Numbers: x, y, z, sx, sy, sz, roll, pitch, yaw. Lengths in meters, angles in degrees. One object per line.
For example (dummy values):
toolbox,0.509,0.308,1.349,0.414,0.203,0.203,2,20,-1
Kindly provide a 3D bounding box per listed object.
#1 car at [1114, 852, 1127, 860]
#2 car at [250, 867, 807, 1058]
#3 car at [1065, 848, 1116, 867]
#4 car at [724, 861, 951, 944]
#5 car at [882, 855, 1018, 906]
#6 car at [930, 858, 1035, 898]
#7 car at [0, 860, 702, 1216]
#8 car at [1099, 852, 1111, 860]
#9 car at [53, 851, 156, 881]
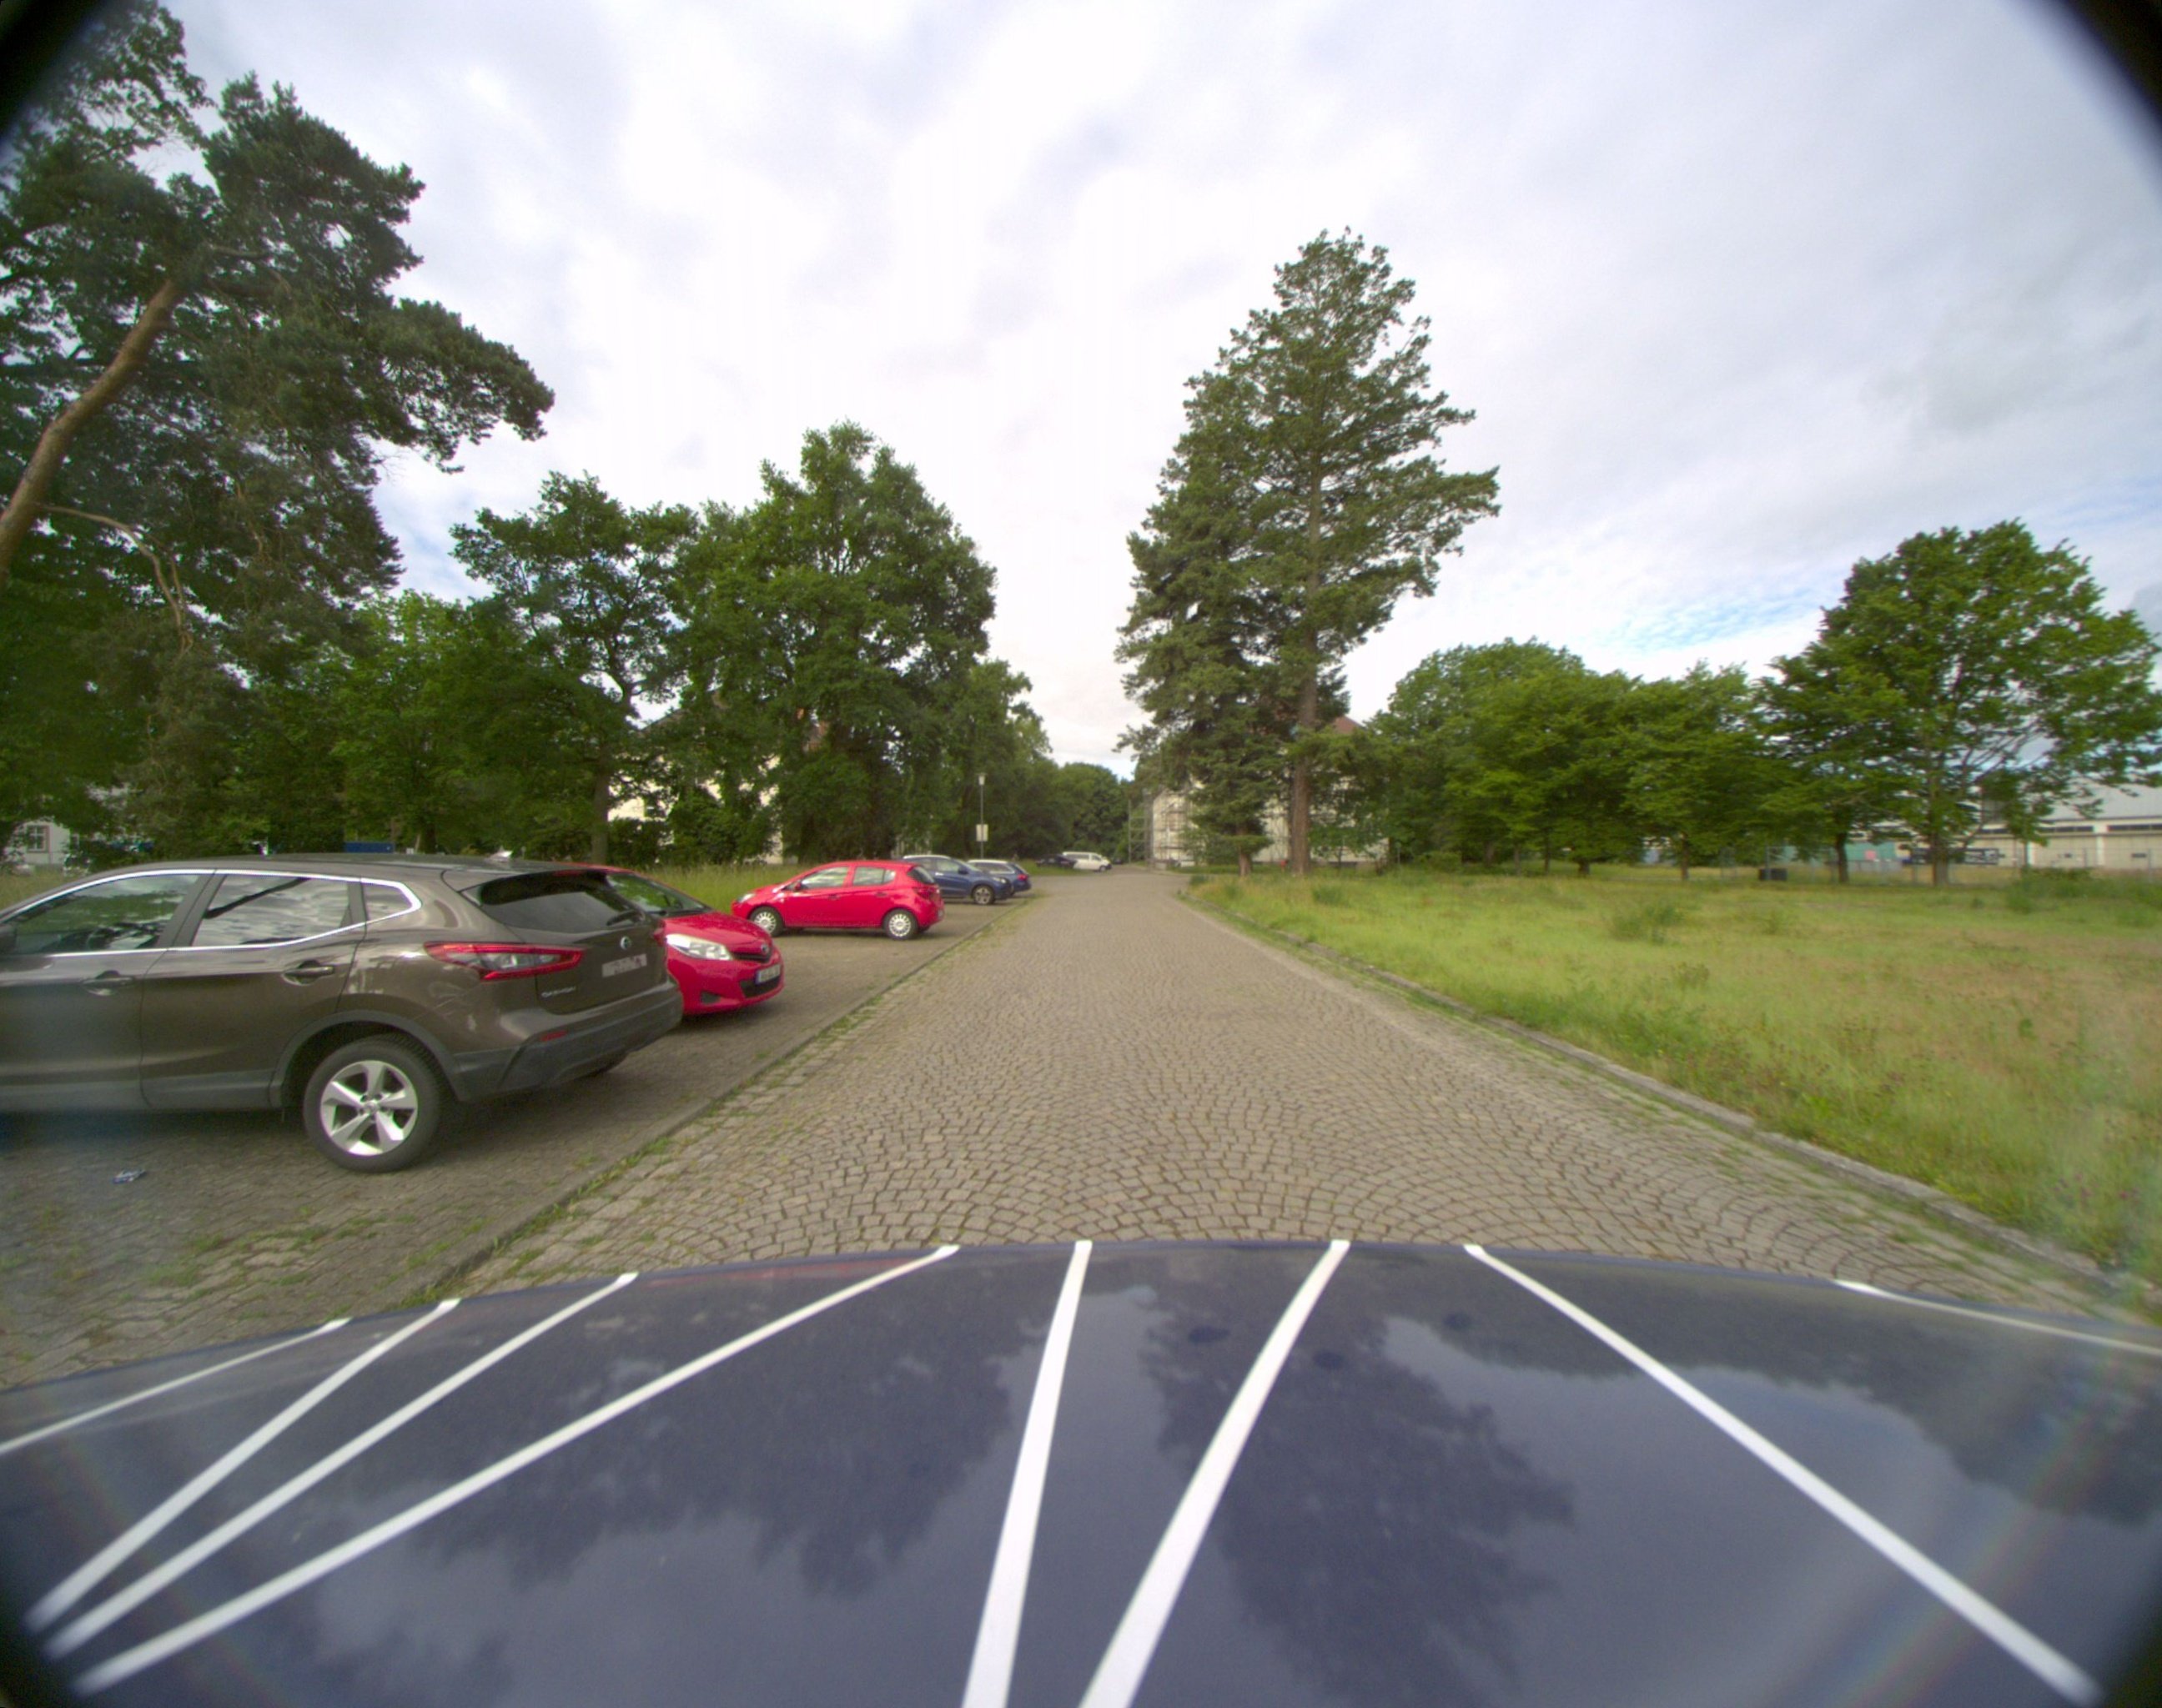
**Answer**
car,7.535,0.339,145.228,1.870,1.408,4.694,1,0,-3
car,-4.954,0.913,7.225,4.016,1.477,1.766,1,0,2
car,0.951,0.334,78.379,5.140,1.860,1.723,1,0,0
car,-4.615,0.903,14.770,3.894,1.451,1.582,1,0,0
car,-4.241,0.846,25.007,4.150,1.529,1.582,1,0,0
car,-3.790,0.909,29.660,3.877,1.417,1.582,1,0,0
car,-4.843,0.880,4.494,4.271,1.589,1.822,1,0,0
car,4.637,0.393,144.741,1.870,1.408,4.694,1,0,-3
car,-67.412,0.794,52.542,1.999,2.002,3.998,0,0,-3
